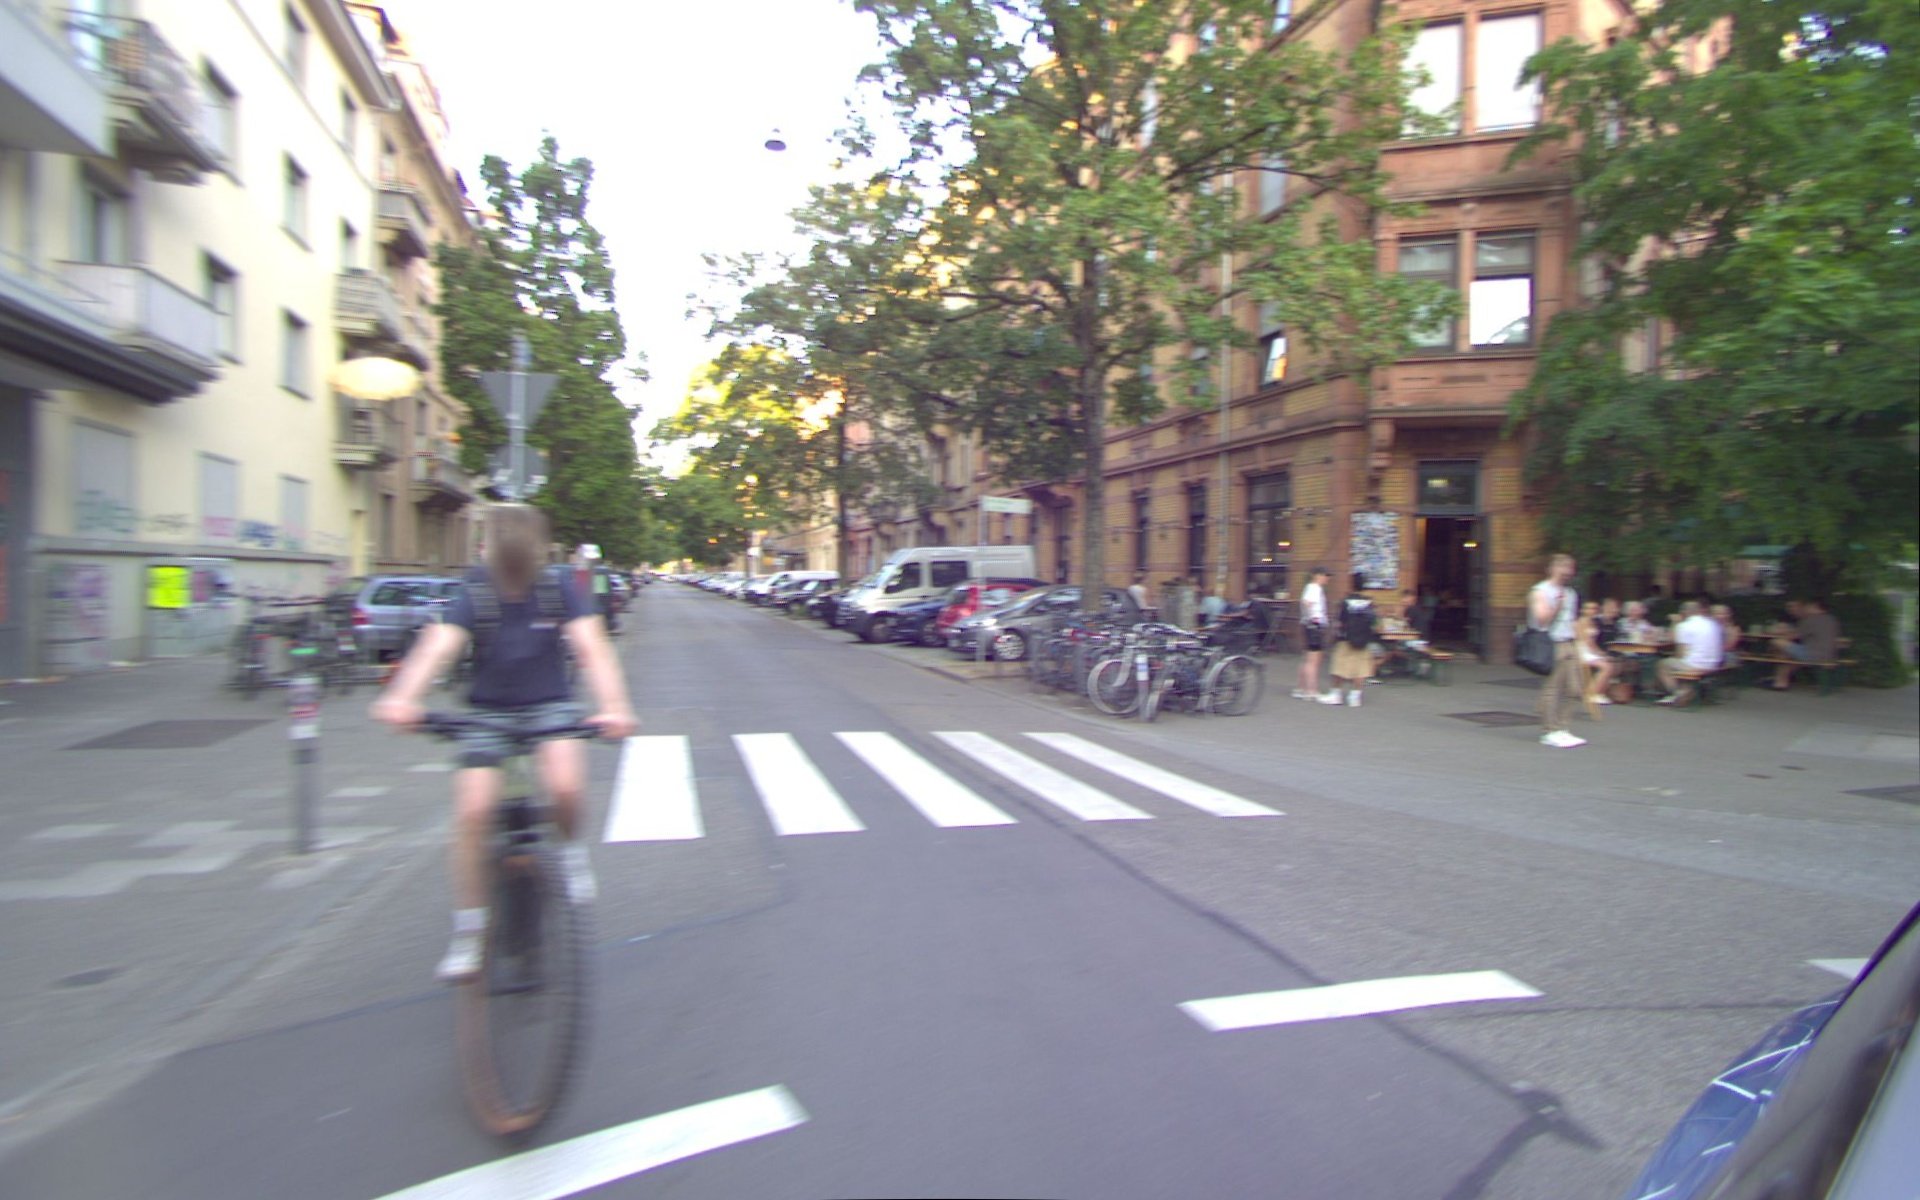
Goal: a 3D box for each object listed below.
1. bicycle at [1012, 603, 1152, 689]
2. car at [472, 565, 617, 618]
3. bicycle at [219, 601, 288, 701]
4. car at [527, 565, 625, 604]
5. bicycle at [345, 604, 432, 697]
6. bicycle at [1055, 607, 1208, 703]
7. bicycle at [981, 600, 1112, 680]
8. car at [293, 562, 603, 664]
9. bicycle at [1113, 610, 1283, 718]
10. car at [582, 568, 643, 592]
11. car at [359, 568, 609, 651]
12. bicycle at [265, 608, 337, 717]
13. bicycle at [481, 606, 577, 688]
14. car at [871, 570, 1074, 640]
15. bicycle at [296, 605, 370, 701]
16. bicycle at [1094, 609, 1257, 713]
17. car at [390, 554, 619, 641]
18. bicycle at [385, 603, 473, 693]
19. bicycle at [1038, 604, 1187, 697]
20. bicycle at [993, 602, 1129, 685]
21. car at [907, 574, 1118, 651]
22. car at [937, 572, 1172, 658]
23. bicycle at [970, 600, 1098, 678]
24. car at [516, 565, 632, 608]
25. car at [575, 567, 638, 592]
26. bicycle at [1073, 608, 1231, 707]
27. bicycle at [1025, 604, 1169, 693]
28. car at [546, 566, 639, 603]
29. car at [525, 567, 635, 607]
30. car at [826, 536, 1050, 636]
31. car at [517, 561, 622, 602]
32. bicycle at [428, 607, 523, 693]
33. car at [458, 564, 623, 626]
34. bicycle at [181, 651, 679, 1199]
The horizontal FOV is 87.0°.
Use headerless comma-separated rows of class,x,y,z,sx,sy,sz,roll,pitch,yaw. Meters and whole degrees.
bicycle,1.748,0.639,14.450,1.992,1.148,0.436,-1,0,-20
car,-14.993,-0.314,36.721,1.988,1.807,4.484,0,1,37
bicycle,-8.038,0.536,11.483,0.371,1.039,2.011,-1,0,-43
car,-20.128,-0.838,53.126,4.461,1.957,1.999,-1,1,-38
bicycle,-7.066,0.577,12.459,0.483,1.039,2.011,-1,0,-43
bicycle,2.226,0.687,13.096,1.992,1.148,0.436,-1,0,-20
bicycle,1.324,0.588,15.427,1.992,1.148,0.436,-1,0,-20
car,-8.827,0.161,17.815,1.987,1.545,4.487,0,1,35
bicycle,2.759,0.706,11.675,1.992,1.148,0.436,-1,0,-20
car,-28.476,-1.631,82.919,4.454,1.957,2.002,-1,0,-30
car,-9.765,0.135,20.861,4.456,1.545,2.001,-1,1,-32
bicycle,-6.957,0.617,10.731,0.370,1.039,1.665,-1,0,-24
bicycle,-5.952,0.611,13.909,2.009,1.039,0.484,0,0,45
car,0.269,0.084,24.151,4.449,1.545,2.004,-1,0,-16
bicycle,-7.471,0.587,12.029,0.371,1.039,2.011,-1,0,-43
bicycle,2.600,0.702,12.155,1.992,1.148,0.436,-1,0,-20
car,-10.469,-0.090,23.458,4.468,1.807,1.996,-1,1,-43
bicycle,-6.748,0.570,12.807,0.483,1.039,2.011,-1,0,-43
bicycle,2.052,0.650,13.532,1.992,1.148,0.436,-1,0,-20
bicycle,1.500,0.626,14.950,1.992,1.148,0.436,-1,0,-20
car,1.109,0.240,22.096,4.203,1.545,1.915,-1,0,-16
car,1.835,0.257,20.042,4.203,1.545,1.915,-1,0,-16
bicycle,1.166,0.585,15.878,1.992,1.148,0.436,-1,0,-20
car,-17.213,-0.606,45.244,4.461,1.807,1.999,-1,1,-38
car,-27.942,-1.602,80.032,4.454,1.957,2.002,-1,0,-30
bicycle,2.407,0.691,12.639,1.992,1.148,0.436,-1,0,-20
bicycle,1.898,0.647,13.991,1.992,1.148,0.436,-1,0,-20
car,-20.276,-0.870,55.920,4.461,1.957,1.999,-1,1,-38
car,-17.878,-0.629,47.731,4.461,1.807,1.999,-1,1,-38
car,-0.603,-0.389,26.592,5.426,2.451,2.250,-1,0,-19
car,-19.255,-0.902,49.975,4.461,1.957,1.999,-1,1,-38
bicycle,-6.446,0.623,13.400,2.009,1.039,0.484,0,0,45
car,-13.133,-0.187,31.918,1.987,1.807,4.488,0,1,35
bicycle,-1.370,0.783,3.176,0.775,1.086,2.290,1,1,-12
